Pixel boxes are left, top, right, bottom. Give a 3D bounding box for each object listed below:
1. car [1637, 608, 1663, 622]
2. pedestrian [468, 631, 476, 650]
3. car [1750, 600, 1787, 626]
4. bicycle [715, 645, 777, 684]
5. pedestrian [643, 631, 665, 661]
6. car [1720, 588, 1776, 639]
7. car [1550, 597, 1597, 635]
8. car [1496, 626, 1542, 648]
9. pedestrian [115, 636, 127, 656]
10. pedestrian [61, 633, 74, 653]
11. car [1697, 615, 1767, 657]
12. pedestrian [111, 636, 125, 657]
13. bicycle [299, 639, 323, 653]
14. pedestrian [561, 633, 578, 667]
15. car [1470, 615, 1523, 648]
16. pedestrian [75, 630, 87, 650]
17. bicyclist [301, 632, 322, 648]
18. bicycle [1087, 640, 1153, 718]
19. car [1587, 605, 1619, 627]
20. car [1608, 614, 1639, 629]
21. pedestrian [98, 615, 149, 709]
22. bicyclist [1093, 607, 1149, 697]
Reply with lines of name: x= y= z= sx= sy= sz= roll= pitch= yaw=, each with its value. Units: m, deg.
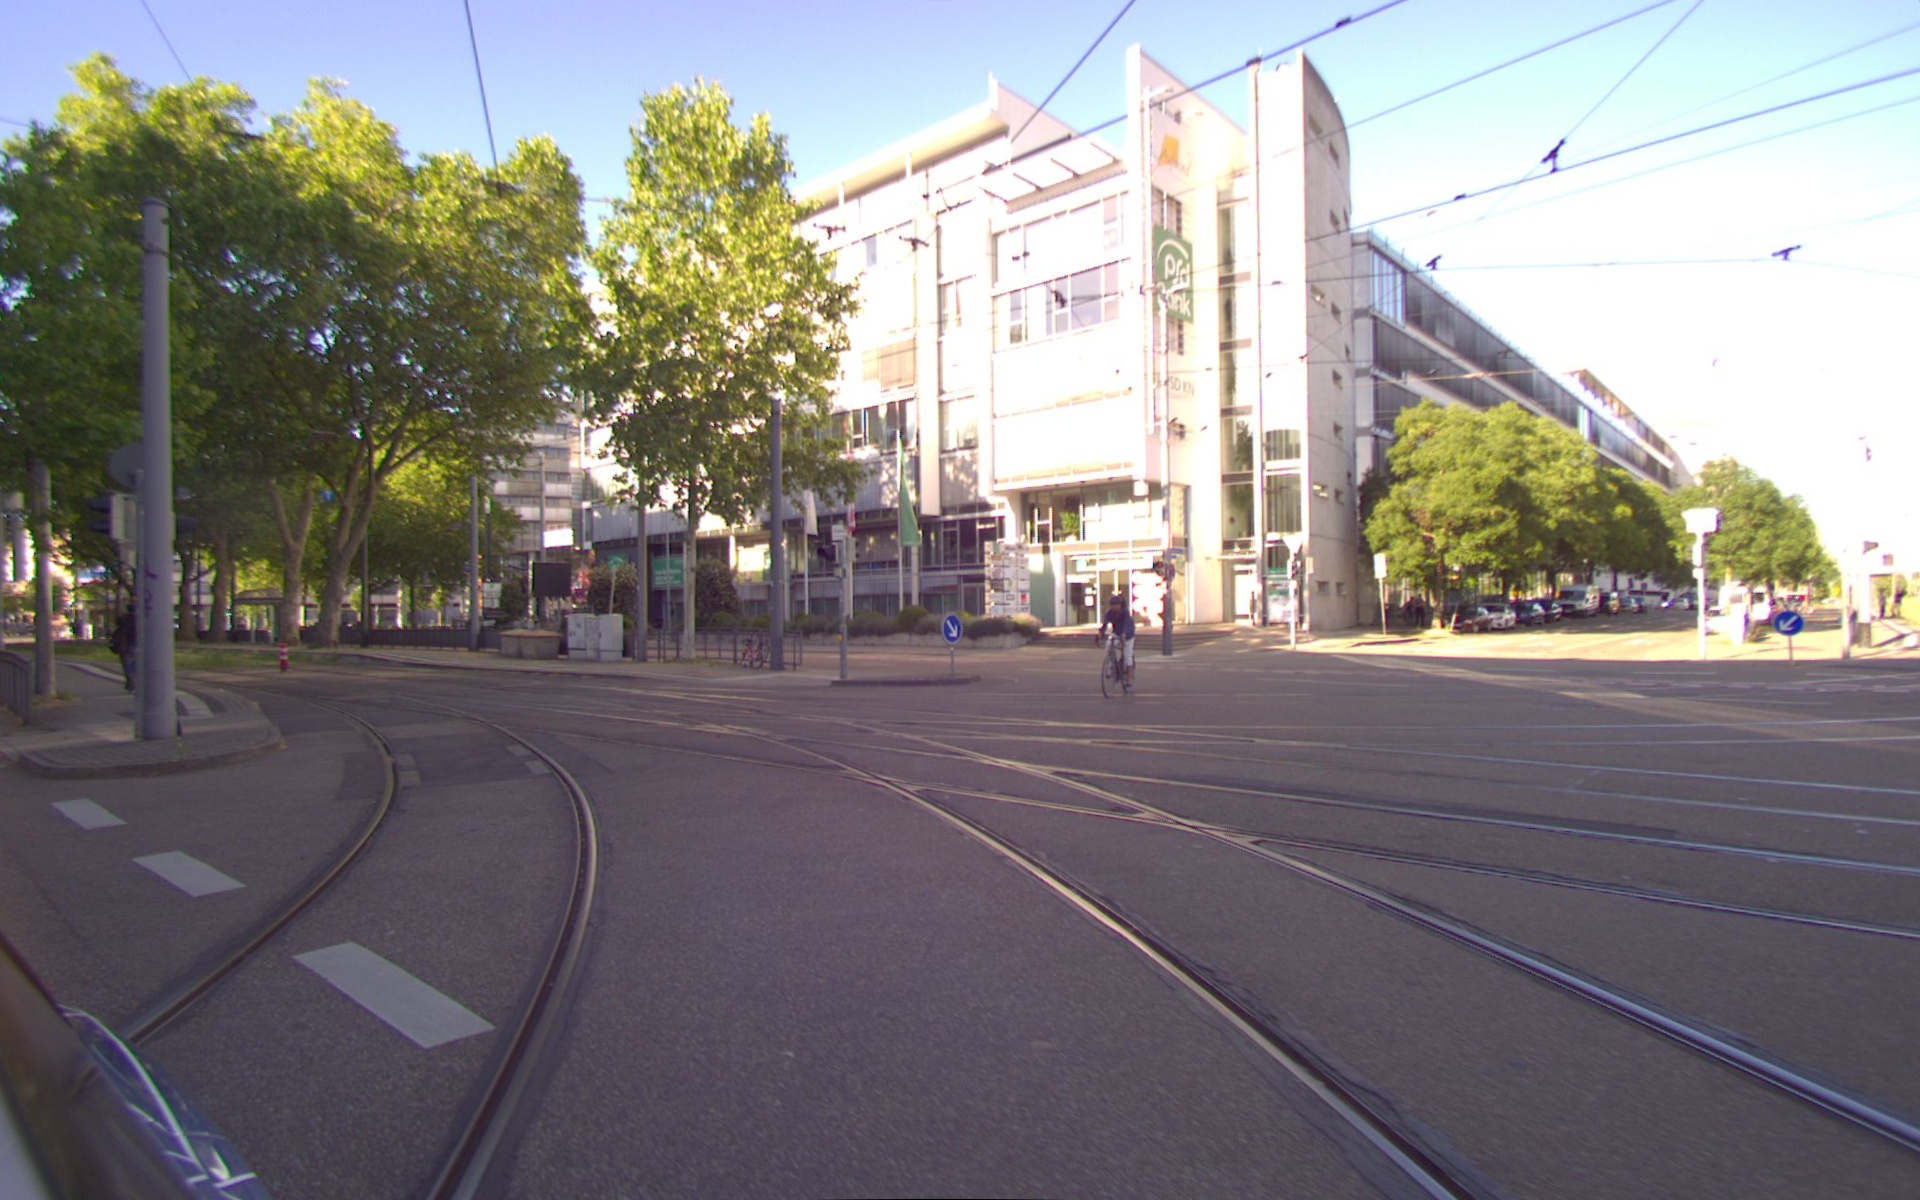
car: x=68.309 y=1.440 z=100.173 sx=1.889 sy=1.357 sz=3.948 roll=-1 pitch=-1 yaw=38
pedestrian: x=-43.802 y=3.630 z=90.834 sx=0.571 sy=1.616 sz=0.580 roll=0 pitch=-2 yaw=-43
car: x=50.190 y=0.781 z=62.839 sx=1.752 sy=1.570 sz=3.899 roll=-1 pitch=-1 yaw=39
bicycle: x=-5.529 y=1.648 z=26.119 sx=0.803 sy=0.953 sz=1.728 roll=0 pitch=-2 yaw=-42
pedestrian: x=-16.674 y=2.496 z=55.201 sx=0.767 sy=1.604 sz=0.896 roll=-2 pitch=-2 yaw=41
car: x=41.269 y=0.702 z=52.987 sx=2.180 sy=2.524 sz=4.344 roll=-1 pitch=-1 yaw=38
car: x=44.574 y=1.130 z=73.463 sx=2.230 sy=2.675 sz=5.062 roll=-1 pitch=-1 yaw=39
car: x=33.652 y=2.208 z=60.854 sx=1.807 sy=1.198 sz=3.750 roll=-1 pitch=-1 yaw=39
pedestrian: x=-65.441 y=3.566 z=78.949 sx=0.549 sy=1.509 sz=0.548 roll=-2 pitch=-2 yaw=30
pedestrian: x=-77.718 y=3.749 z=88.140 sx=0.697 sy=1.709 sz=0.678 roll=-2 pitch=-2 yaw=34
car: x=32.831 y=1.493 z=43.142 sx=2.103 sy=1.710 sz=3.924 roll=-2 pitch=-2 yaw=35
pedestrian: x=-66.894 y=3.702 z=80.391 sx=0.667 sy=1.654 sz=0.662 roll=-1 pitch=-1 yaw=30
bicycle: x=-51.492 y=3.664 z=80.301 sx=2.582 sy=1.004 sz=0.793 roll=-2 pitch=-1 yaw=39
pedestrian: x=-23.418 y=3.006 z=60.684 sx=0.833 sy=1.991 sz=0.599 roll=-3 pitch=-1 yaw=40
car: x=29.201 y=1.692 z=54.991 sx=1.734 sy=1.666 sz=3.900 roll=-1 pitch=-1 yaw=40
pedestrian: x=-77.189 y=3.518 z=88.873 sx=0.674 sy=1.767 sz=0.649 roll=-2 pitch=-2 yaw=34
bicyclist: x=-51.491 y=3.181 z=80.311 sx=1.372 sy=1.259 sz=0.994 roll=-2 pitch=-1 yaw=39
bicycle: x=2.770 y=1.313 z=17.397 sx=0.587 sy=1.198 sz=2.026 roll=-1 pitch=-1 yaw=25
car: x=51.131 y=1.264 z=80.508 sx=1.733 sy=1.666 sz=3.750 roll=-1 pitch=-1 yaw=39
car: x=59.045 y=1.909 z=90.040 sx=1.998 sy=1.357 sz=3.948 roll=-1 pitch=-1 yaw=38
pedestrian: x=-16.155 y=1.175 z=19.545 sx=0.725 sy=1.760 sz=0.712 roll=0 pitch=-2 yaw=-43
bicyclist: x=2.780 y=0.882 z=17.431 sx=0.719 sy=1.505 sz=0.875 roll=-1 pitch=-1 yaw=25
